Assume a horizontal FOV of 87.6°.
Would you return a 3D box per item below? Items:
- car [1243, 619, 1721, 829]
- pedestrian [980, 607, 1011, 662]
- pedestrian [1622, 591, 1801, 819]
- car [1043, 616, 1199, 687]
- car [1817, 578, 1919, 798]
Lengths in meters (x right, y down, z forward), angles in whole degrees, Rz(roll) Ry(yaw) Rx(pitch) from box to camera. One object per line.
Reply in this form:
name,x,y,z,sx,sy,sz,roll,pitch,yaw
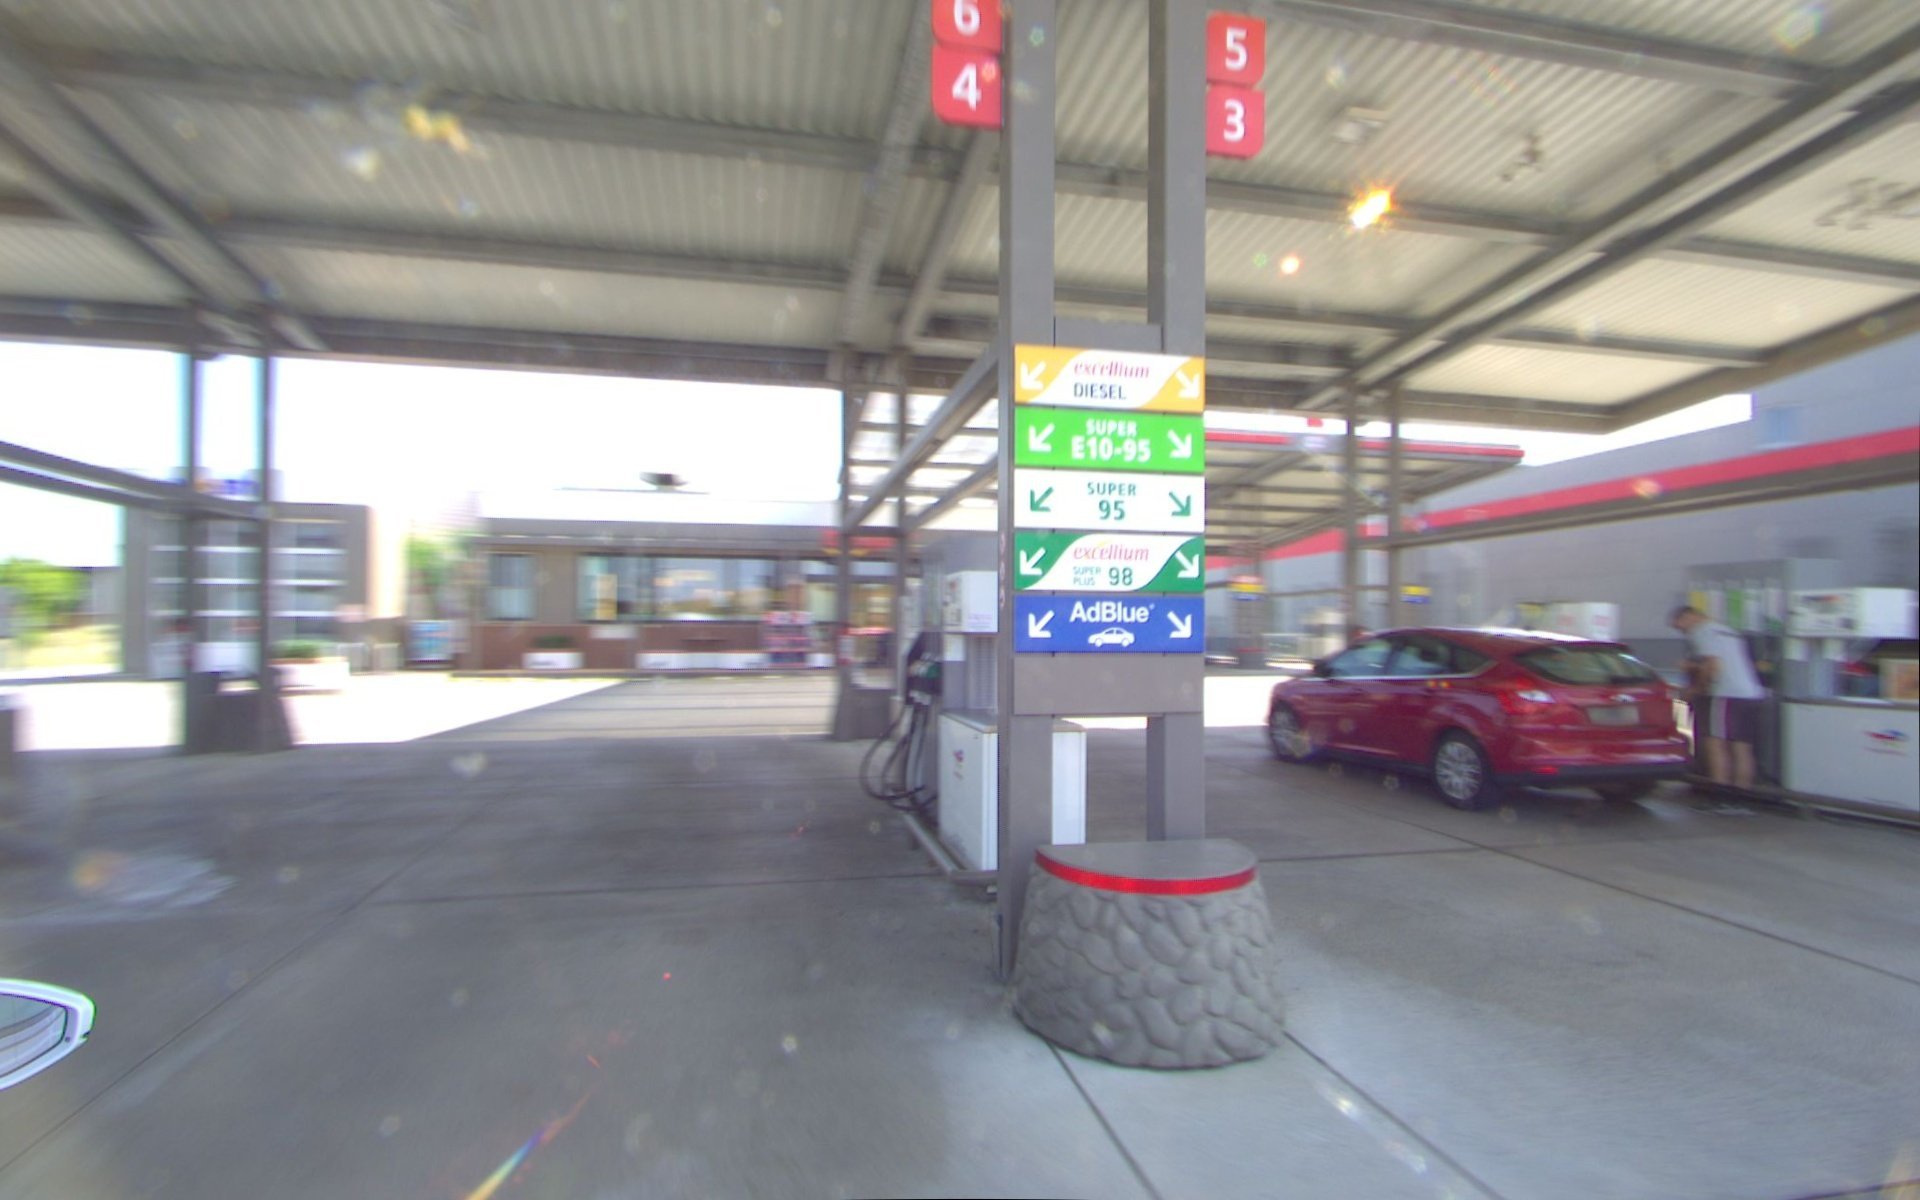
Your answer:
car,4.472,0.939,9.433,1.673,1.488,4.228,0,-1,-12
pedestrian,0.953,0.931,26.932,0.690,1.451,0.672,0,0,-13
pedestrian,6.047,0.803,8.106,0.690,1.725,0.927,0,0,-11
car,3.583,1.116,23.166,1.804,1.476,4.312,1,-1,-18
car,9.484,0.761,7.211,1.997,1.875,4.792,0,0,-12
